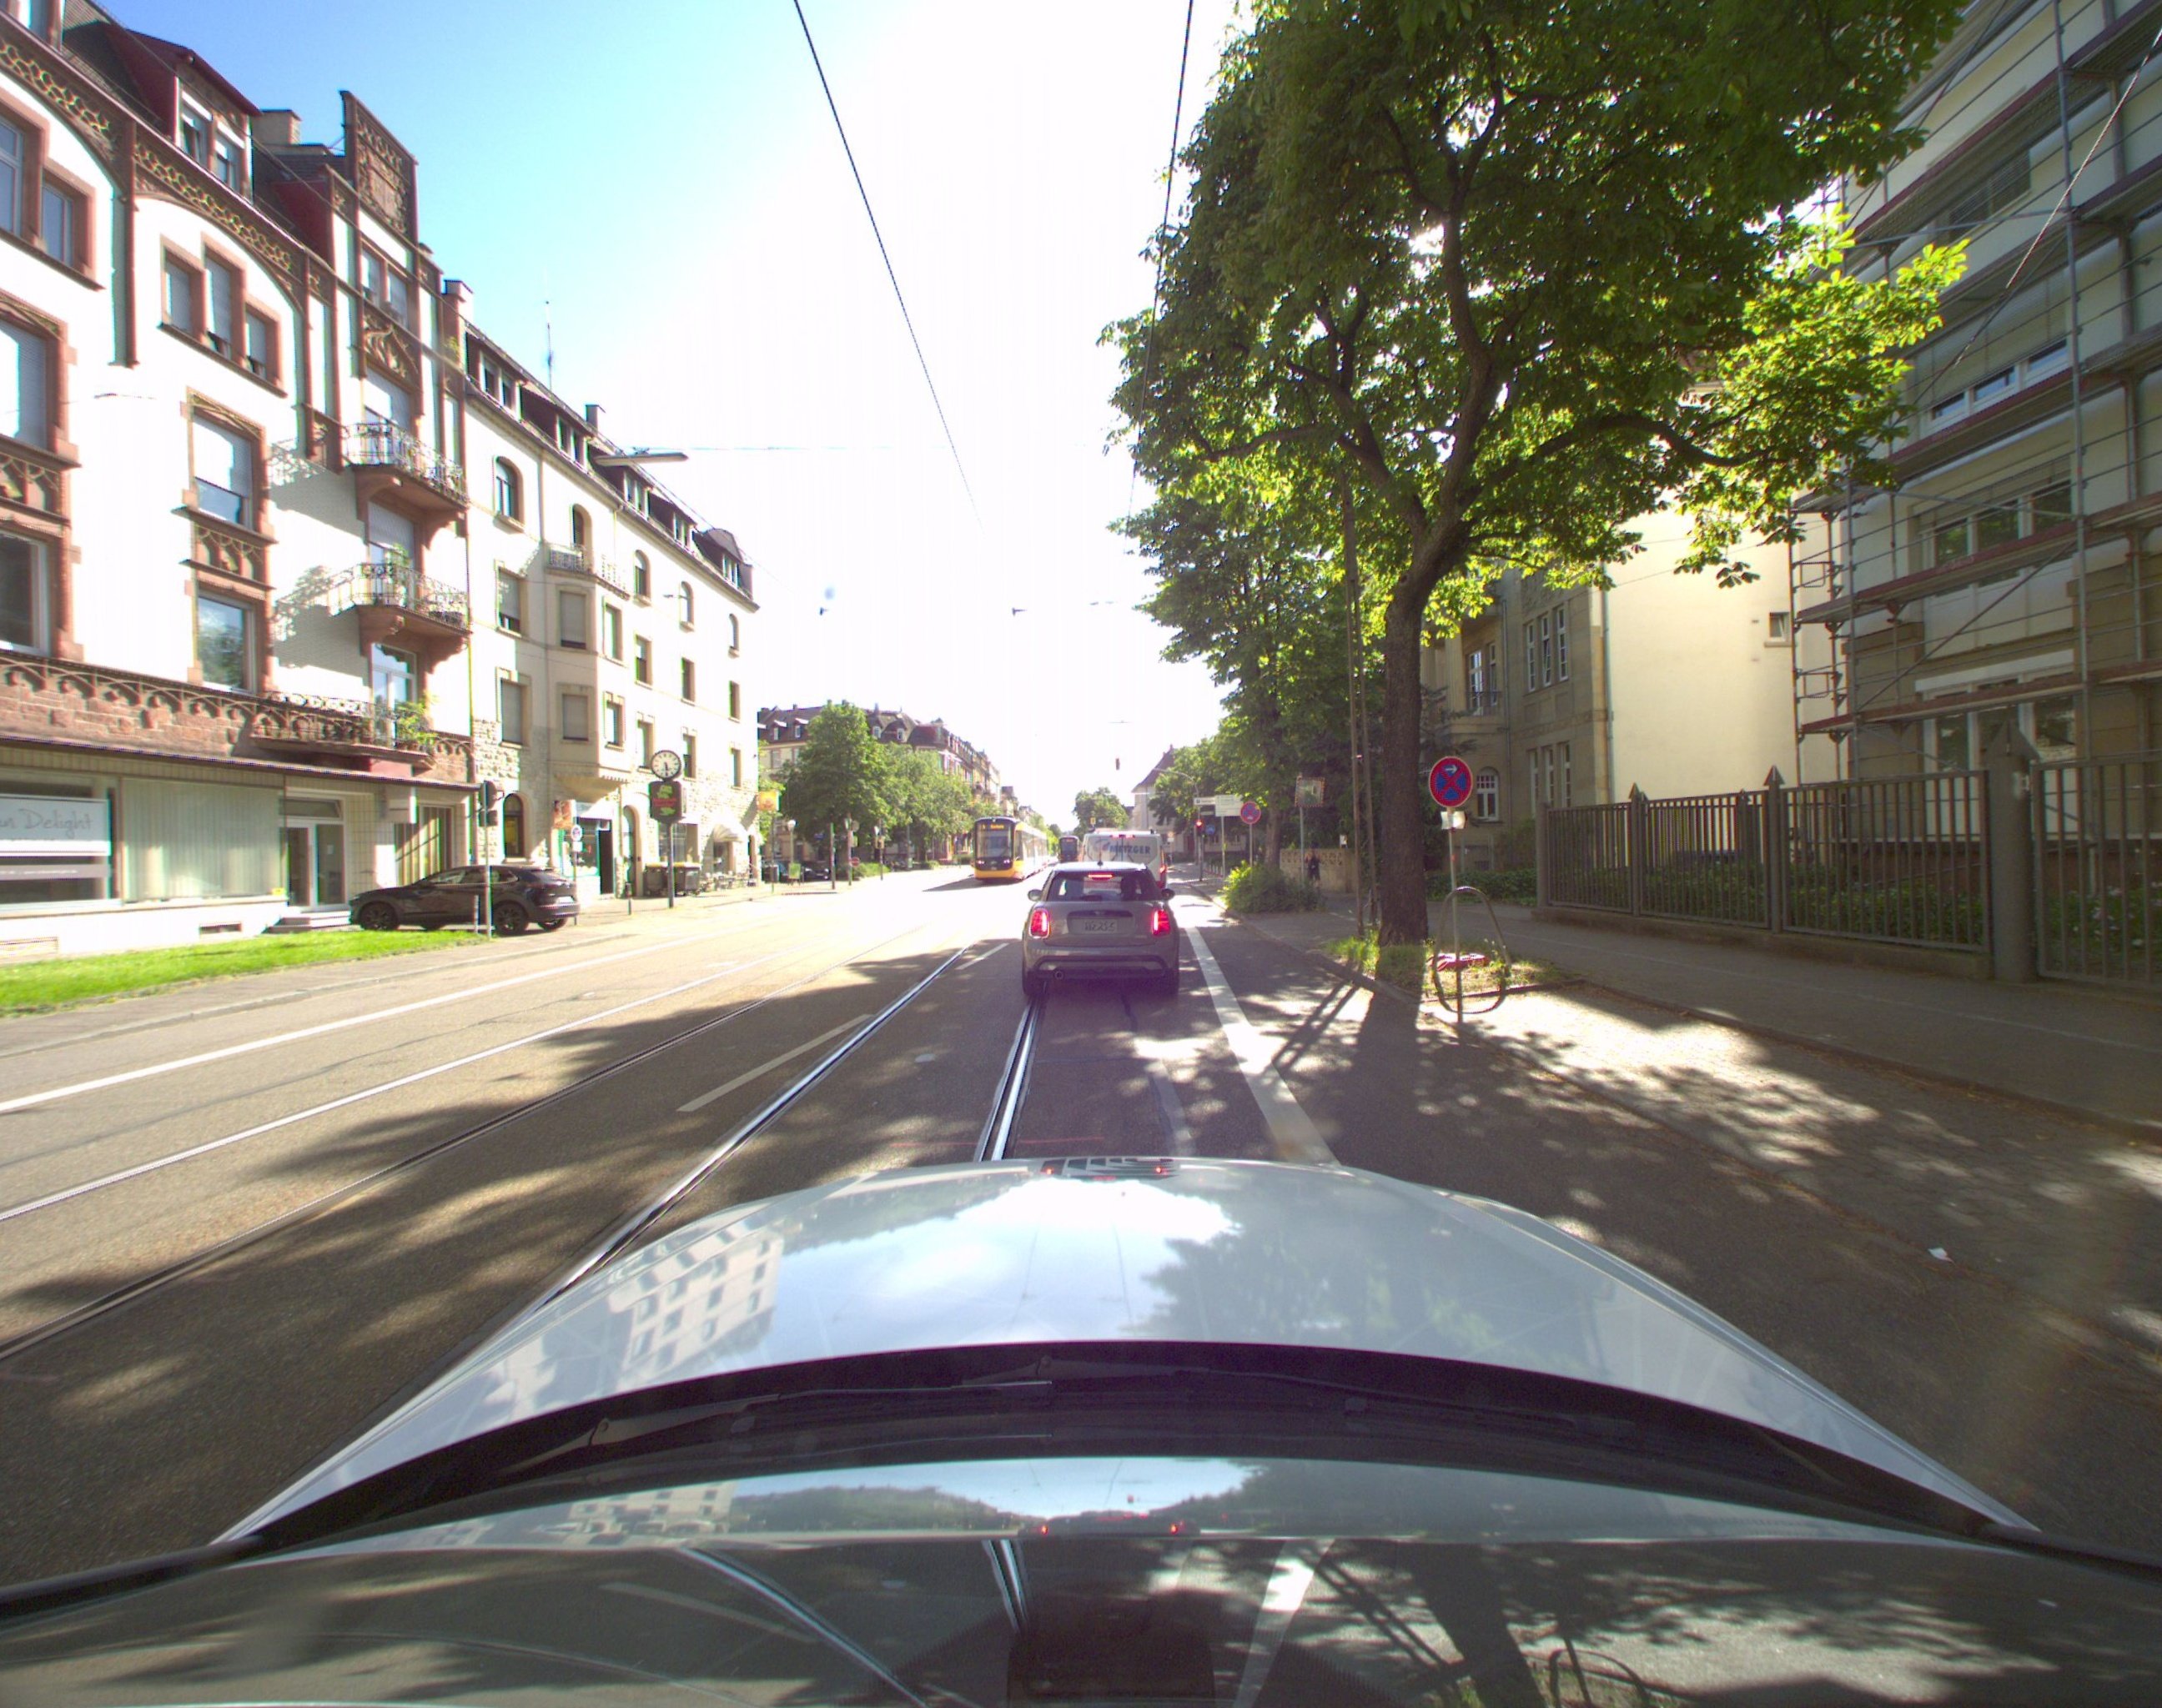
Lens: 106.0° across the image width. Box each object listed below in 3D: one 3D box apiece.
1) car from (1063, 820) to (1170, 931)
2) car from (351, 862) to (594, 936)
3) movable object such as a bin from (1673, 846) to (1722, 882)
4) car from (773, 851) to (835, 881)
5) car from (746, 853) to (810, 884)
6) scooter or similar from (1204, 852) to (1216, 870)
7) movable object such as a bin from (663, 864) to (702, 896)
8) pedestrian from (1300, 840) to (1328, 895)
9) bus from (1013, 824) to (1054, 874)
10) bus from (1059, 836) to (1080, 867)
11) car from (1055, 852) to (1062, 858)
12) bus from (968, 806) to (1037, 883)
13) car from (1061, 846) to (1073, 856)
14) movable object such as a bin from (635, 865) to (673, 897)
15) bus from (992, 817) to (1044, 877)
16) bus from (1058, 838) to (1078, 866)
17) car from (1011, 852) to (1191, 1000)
[{"bbox_3d":[0.791,0.448,18.720,2.110,2.208,4.946,0,-1,2],"label":"car"},{"bbox_3d":[-13.588,0.991,18.395,3.981,1.503,1.768,1,-1,-6],"label":"car"},{"bbox_3d":[16.677,0.276,22.037,0.831,0.955,0.648,0,-1,0],"label":"movable object such as a bin"},{"bbox_3d":[-19.492,0.826,57.248,3.949,2.014,2.012,-1,-1,30],"label":"car"},{"bbox_3d":[-20.550,0.991,55.194,3.949,2.014,2.012,-1,-1,30],"label":"car"},{"bbox_3d":[9.318,0.495,58.761,0.673,1.310,1.329,0,-1,1],"label":"scooter or similar"},{"bbox_3d":[-16.061,1.048,32.808,0.941,1.273,1.145,0,-1,5],"label":"movable object such as a bin"},{"bbox_3d":[7.266,0.421,25.415,0.590,1.671,0.647,-3,-1,1],"label":"pedestrian"},{"bbox_3d":[-3.873,-0.329,68.871,2.841,3.777,12.193,0,0,0],"label":"bus"},{"bbox_3d":[-1.419,-0.258,97.764,2.379,3.496,7.377,0,-1,-2],"label":"bus"},{"bbox_3d":[-6.110,0.211,218.026,1.771,1.618,3.997,0,-1,-2],"label":"car"},{"bbox_3d":[-4.192,-0.426,46.049,2.851,3.777,11.494,0,0,-1],"label":"bus"},{"bbox_3d":[-2.213,-0.420,130.911,1.859,1.563,3.997,0,-1,-2],"label":"car"},{"bbox_3d":[-16.997,1.068,32.438,0.829,1.223,1.245,0,-1,4],"label":"movable object such as a bin"},{"bbox_3d":[-4.287,-0.380,57.356,2.851,3.777,11.179,0,0,-1],"label":"bus"},{"bbox_3d":[-1.721,-0.178,105.162,2.379,3.496,7.377,0,-1,-2],"label":"bus"},{"bbox_3d":[0.263,0.744,10.222,1.808,1.488,4.001,0,-1,2],"label":"car"}]
